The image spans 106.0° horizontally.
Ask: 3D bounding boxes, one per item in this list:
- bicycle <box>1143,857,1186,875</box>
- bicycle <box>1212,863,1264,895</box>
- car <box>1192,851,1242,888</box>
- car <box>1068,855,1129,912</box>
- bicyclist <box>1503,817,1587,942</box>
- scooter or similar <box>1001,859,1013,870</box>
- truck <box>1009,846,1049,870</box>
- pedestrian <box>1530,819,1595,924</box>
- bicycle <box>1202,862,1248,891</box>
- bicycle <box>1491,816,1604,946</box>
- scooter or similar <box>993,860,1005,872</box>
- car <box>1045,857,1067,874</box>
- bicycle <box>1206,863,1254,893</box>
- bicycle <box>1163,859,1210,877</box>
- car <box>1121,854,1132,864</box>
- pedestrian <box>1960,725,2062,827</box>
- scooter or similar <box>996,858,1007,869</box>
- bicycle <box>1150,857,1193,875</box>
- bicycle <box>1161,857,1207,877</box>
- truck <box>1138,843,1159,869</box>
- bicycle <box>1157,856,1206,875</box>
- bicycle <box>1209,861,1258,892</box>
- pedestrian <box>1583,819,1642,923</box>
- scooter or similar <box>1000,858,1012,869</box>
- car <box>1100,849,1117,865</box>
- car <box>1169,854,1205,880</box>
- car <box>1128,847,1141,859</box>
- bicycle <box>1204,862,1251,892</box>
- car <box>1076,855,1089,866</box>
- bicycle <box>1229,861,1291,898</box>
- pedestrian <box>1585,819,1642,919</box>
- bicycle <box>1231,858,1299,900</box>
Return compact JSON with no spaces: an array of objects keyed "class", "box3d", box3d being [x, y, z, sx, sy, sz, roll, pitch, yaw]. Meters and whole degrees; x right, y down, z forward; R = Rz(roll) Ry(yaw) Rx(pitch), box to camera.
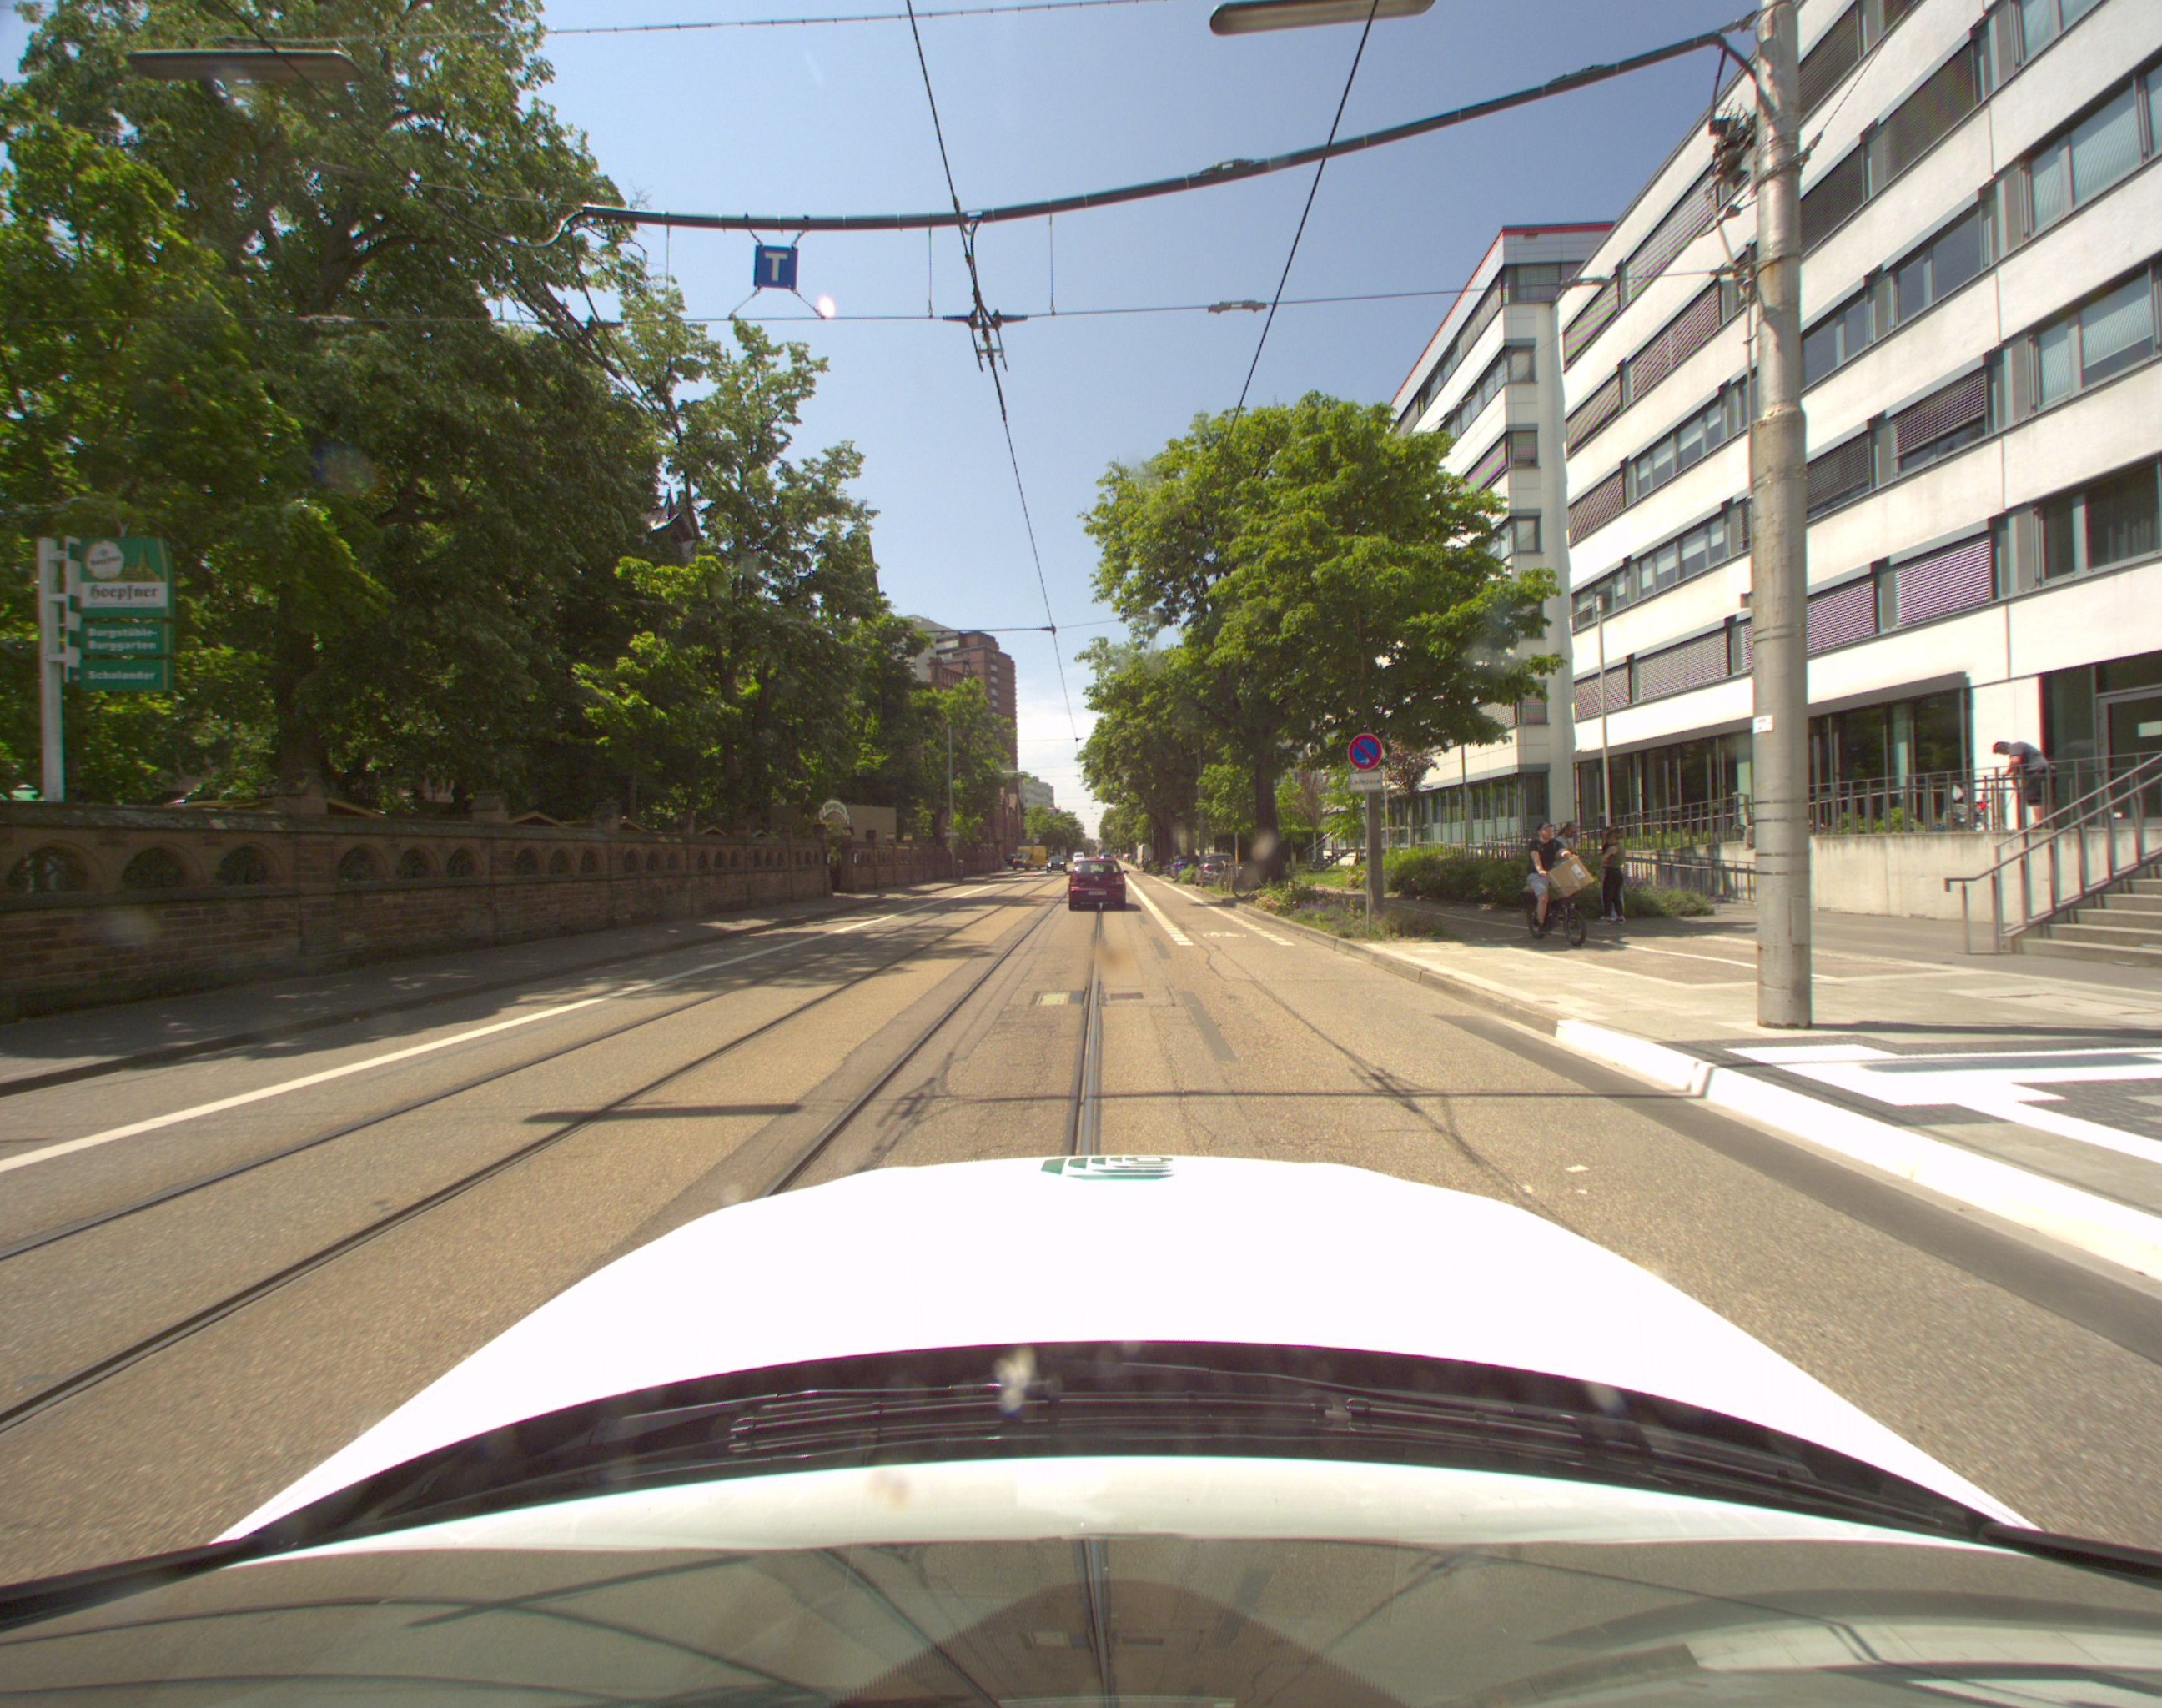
[{"class":"bicycle","box3d":[6.130,0.894,59.759,3.060,1.313,0.781,0,0,-1]},{"class":"bicycle","box3d":[5.710,0.895,29.678,1.745,1.085,0.549,-2,0,1]},{"class":"car","box3d":[6.106,0.688,36.990,1.682,1.503,3.628,-3,0,1]},{"class":"car","box3d":[0.513,0.789,24.062,1.613,1.486,4.001,-2,0,1]},{"class":"bicyclist","box3d":[7.005,0.377,12.333,0.693,1.799,0.889,-3,-1,4]},{"class":"scooter or similar","box3d":[-7.690,1.063,84.687,1.092,1.155,0.524,0,0,-20]},{"class":"truck","box3d":[-6.222,0.466,98.640,2.351,2.787,7.352,-2,0,17]},{"class":"pedestrian","box3d":[8.625,0.308,14.597,0.682,1.796,0.668,-3,0,-30]},{"class":"bicycle","box3d":[5.807,0.896,32.851,1.745,1.085,0.549,-2,0,1]},{"class":"bicycle","box3d":[6.998,0.385,12.326,0.686,1.785,1.813,-3,-1,5]},{"class":"scooter or similar","box3d":[-8.122,1.141,80.624,1.092,1.155,0.524,0,0,-20]},{"class":"car","box3d":[-2.309,1.069,76.005,1.764,1.516,4.001,-2,0,2]},{"class":"bicycle","box3d":[5.773,0.912,31.605,1.745,1.085,0.549,-2,0,1]},{"class":"bicycle","box3d":[7.081,0.933,54.661,3.060,1.154,0.781,0,0,-1]},{"class":"car","box3d":[7.575,0.813,135.008,1.668,1.656,4.001,0,0,1]},{"class":"pedestrian","box3d":[16.314,-1.349,14.308,0.875,1.716,0.808,0,0,0]},{"class":"scooter or similar","box3d":[-8.117,0.992,83.169,1.092,1.155,0.524,0,0,-20]},{"class":"bicycle","box3d":[6.538,0.854,58.910,3.060,1.313,0.781,0,0,-1]},{"class":"bicycle","box3d":[7.038,0.873,55.881,3.060,1.313,0.781,0,0,-1]},{"class":"truck","box3d":[7.113,0.201,86.444,1.986,2.662,4.876,0,0,1]},{"class":"bicycle","box3d":[7.142,0.832,57.890,3.357,1.313,0.781,0,0,-1]},{"class":"bicycle","box3d":[5.743,0.849,30.707,1.745,1.085,0.549,-2,0,1]},{"class":"pedestrian","box3d":[9.001,0.284,13.801,0.540,1.715,0.560,-3,-1,-28]},{"class":"scooter or similar","box3d":[-7.766,0.982,84.031,1.092,1.155,0.524,0,0,-20]},{"class":"car","box3d":[3.536,0.425,104.950,1.987,2.013,3.999,0,0,-1]},{"class":"car","box3d":[6.342,0.745,49.083,1.682,1.468,3.880,-2,0,1]},{"class":"car","box3d":[7.746,-0.118,118.093,1.668,1.656,4.001,0,0,1]},{"class":"bicycle","box3d":[5.771,0.903,32.202,1.745,1.085,0.549,-2,0,1]},{"class":"car","box3d":[0.301,1.204,144.037,1.986,1.854,4.683,-2,0,1]},{"class":"bicycle","box3d":[5.661,0.804,25.890,1.817,1.085,0.719,-2,-1,4]},{"class":"pedestrian","box3d":[9.381,0.263,14.344,0.540,1.715,0.560,-3,-1,-28]},{"class":"bicycle","box3d":[5.555,0.741,24.649,1.876,1.182,0.694,-2,-1,1]}]
